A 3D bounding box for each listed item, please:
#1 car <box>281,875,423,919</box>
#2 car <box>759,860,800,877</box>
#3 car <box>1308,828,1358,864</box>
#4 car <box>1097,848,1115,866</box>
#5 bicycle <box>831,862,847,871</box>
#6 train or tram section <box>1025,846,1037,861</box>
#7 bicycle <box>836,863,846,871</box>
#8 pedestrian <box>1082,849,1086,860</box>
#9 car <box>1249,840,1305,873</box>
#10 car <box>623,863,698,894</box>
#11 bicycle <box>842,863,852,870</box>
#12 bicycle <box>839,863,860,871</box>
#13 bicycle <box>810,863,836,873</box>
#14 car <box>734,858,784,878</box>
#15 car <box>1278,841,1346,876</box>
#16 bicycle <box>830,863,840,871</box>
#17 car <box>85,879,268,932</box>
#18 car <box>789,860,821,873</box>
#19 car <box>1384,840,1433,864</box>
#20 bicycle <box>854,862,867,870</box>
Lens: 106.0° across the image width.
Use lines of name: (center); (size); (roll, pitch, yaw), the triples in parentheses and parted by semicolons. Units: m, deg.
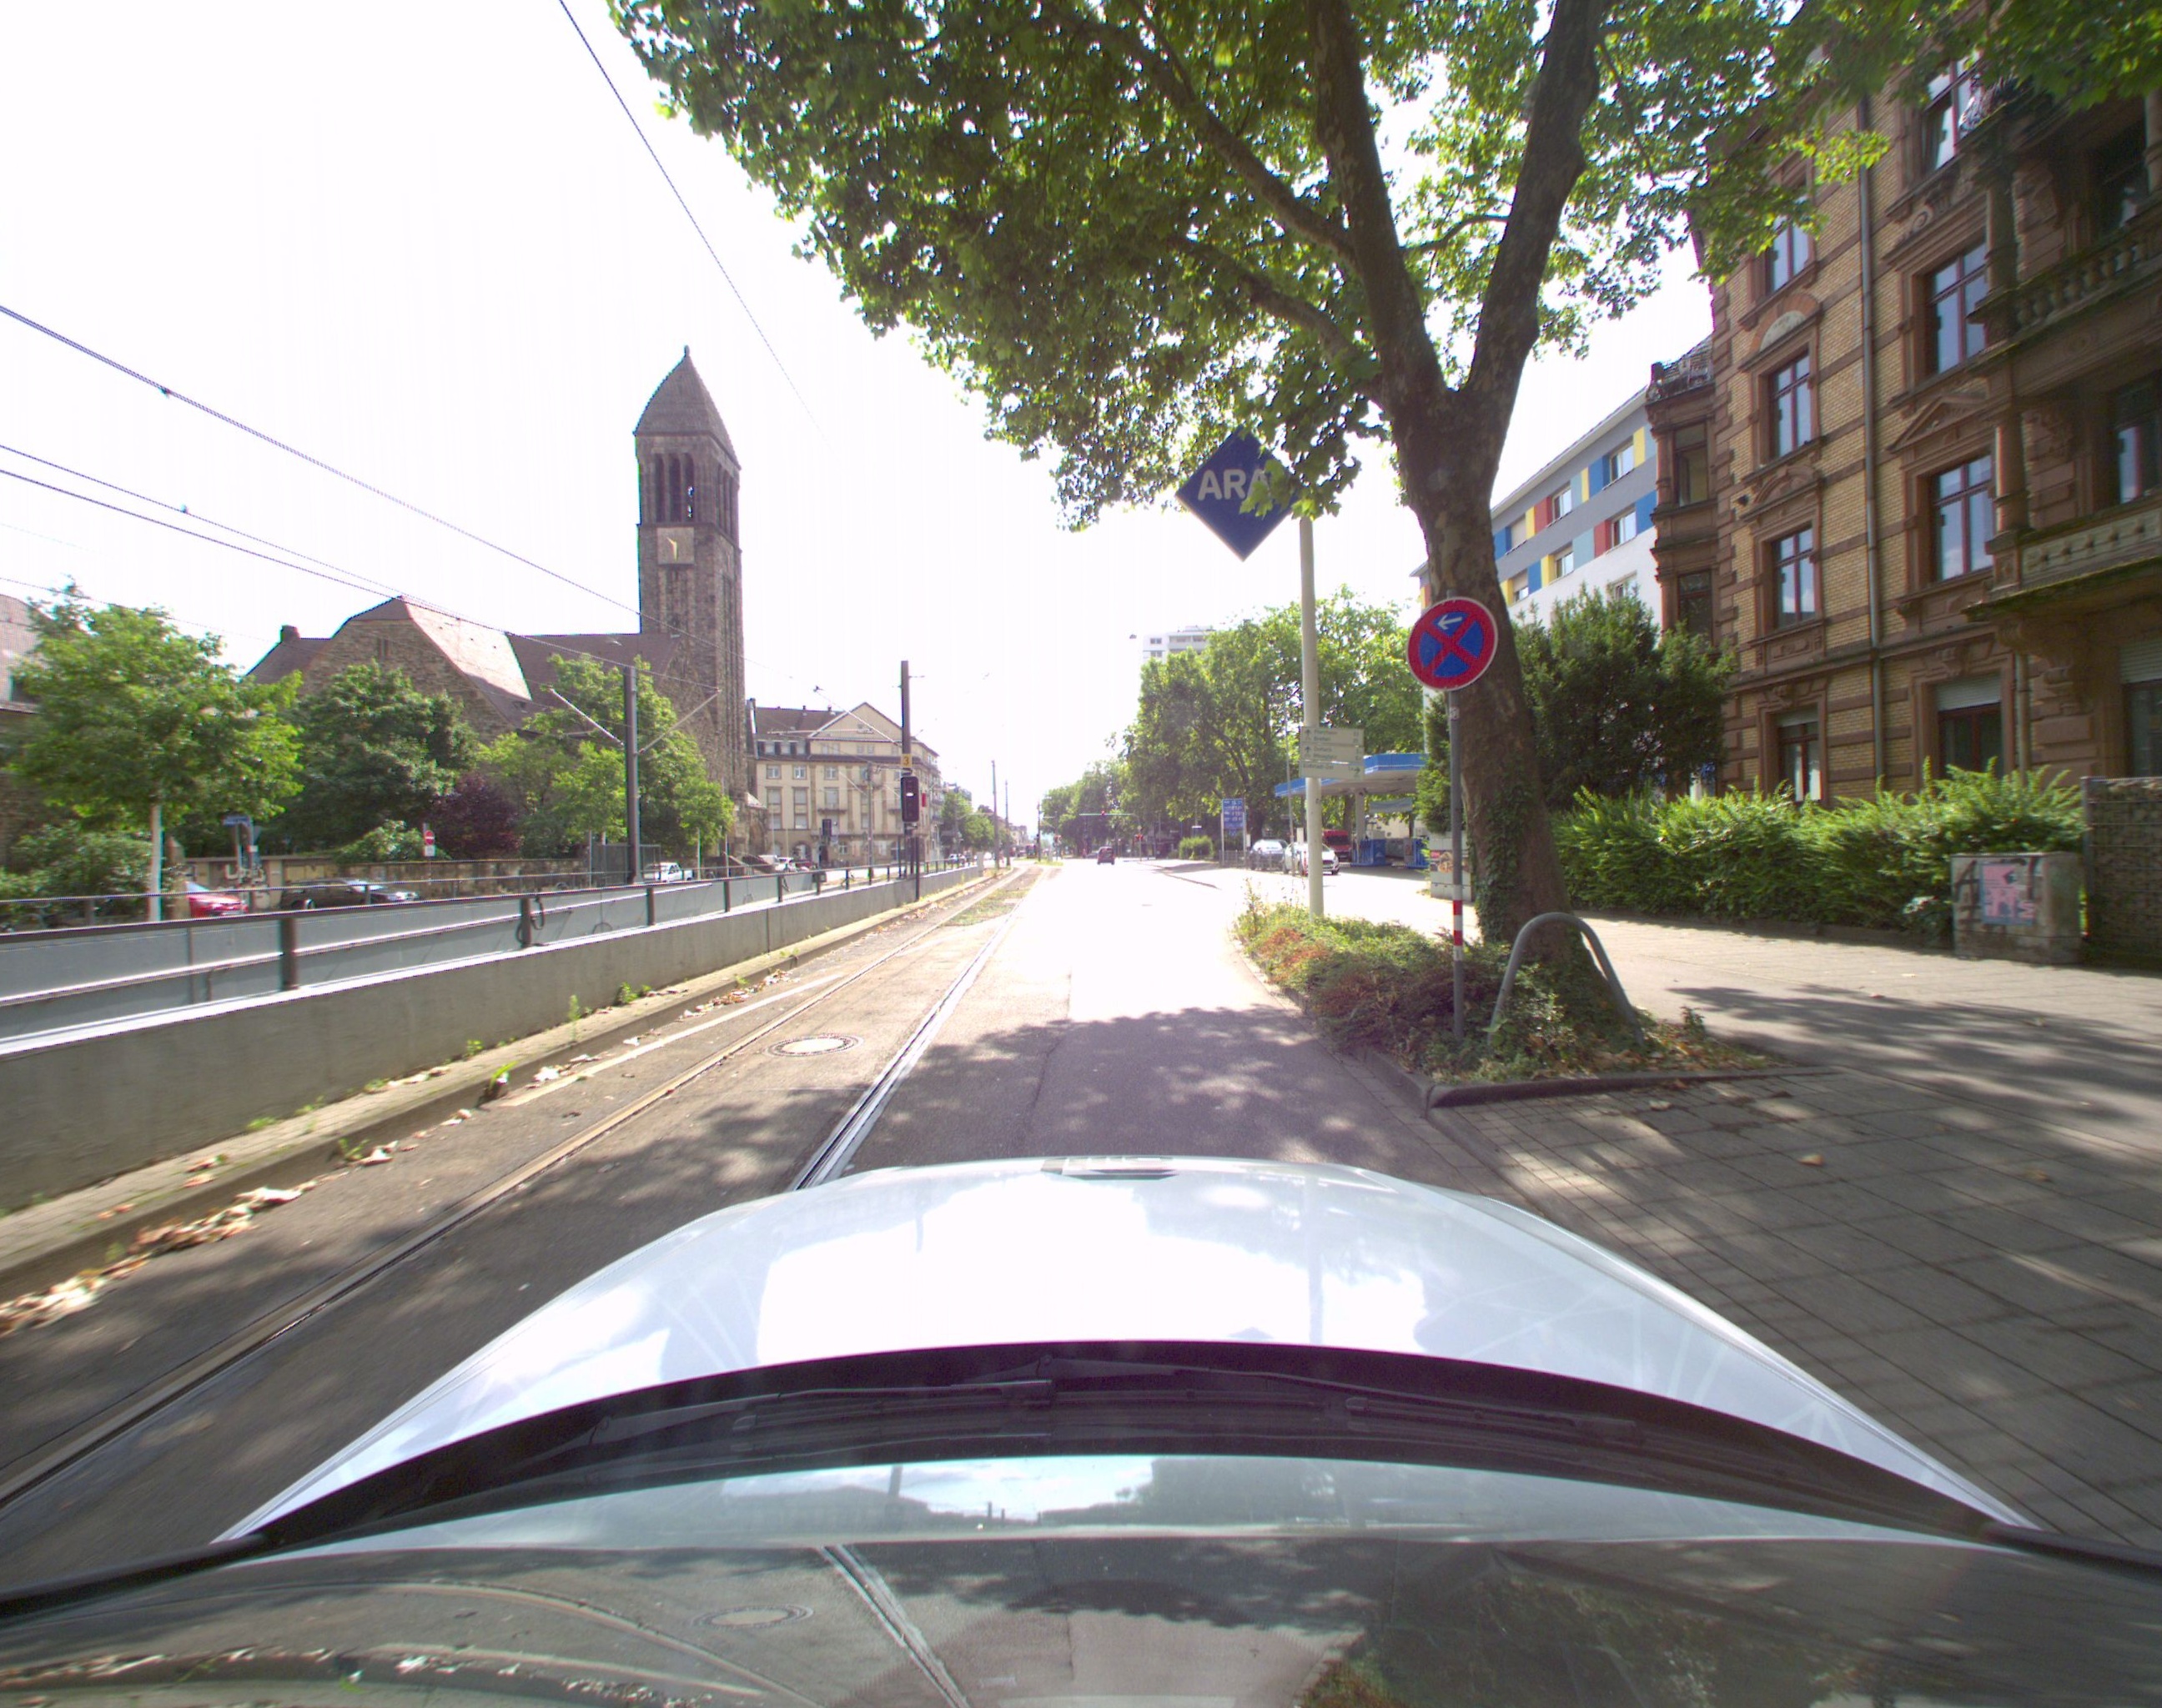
car: (-28.677, 1.673, 32.117); (3.951, 1.464, 1.723); (-2, 0, -2)
car: (-29.364, 1.424, 79.367); (3.258, 1.502, 1.853); (-2, 0, -3)
car: (19.729, -0.606, 64.085); (2.104, 2.582, 6.019); (-2, 0, 1)
car: (2.615, 0.270, 84.868); (1.745, 1.809, 3.473); (0, 0, -1)
bicycle: (-32.944, 1.751, 110.974); (1.986, 1.114, 0.481); (-2, 0, -38)
train or tram section: (-12.000, -0.069, 196.981); (2.234, 3.331, 12.966); (-2, 0, -1)
bicycle: (-33.482, 1.767, 113.515); (0.808, 1.053, 2.541); (-2, 0, -30)
pedestrian: (0.513, 0.054, 134.456); (0.657, 1.784, 0.660); (-2, 0, -1)
car: (10.363, 0.114, 43.386); (1.800, 1.602, 4.581); (-1, 0, 0)
car: (-22.889, 1.311, 44.491); (1.926, 1.504, 4.409); (-2, 0, -3)
bicycle: (-32.734, 1.761, 113.948); (0.808, 1.053, 2.541); (-2, 0, -30)
bicycle: (-31.954, 1.747, 112.419); (2.573, 1.053, 0.676); (-2, 0, -29)
bicycle: (-35.352, 1.908, 111.432); (3.285, 1.253, 1.003); (-2, 0, 15)
car: (-30.077, 1.295, 76.065); (3.863, 1.748, 1.892); (-2, 0, -5)
car: (10.312, 0.175, 36.616); (1.801, 1.455, 3.998); (-1, 0, -2)
bicycle: (-34.220, 1.773, 113.138); (0.745, 1.053, 2.541); (-2, 0, -30)
car: (-29.187, 1.638, 26.372); (3.766, 1.464, 1.933); (-2, 0, 1)
car: (-37.367, 1.679, 110.300); (3.948, 1.674, 2.013); (-2, 0, 31)
car: (25.575, -0.176, 63.794); (1.999, 1.754, 4.652); (-1, 0, 0)
bicycle: (-31.061, 1.738, 114.764); (0.798, 1.053, 2.574); (-2, 0, 11)
